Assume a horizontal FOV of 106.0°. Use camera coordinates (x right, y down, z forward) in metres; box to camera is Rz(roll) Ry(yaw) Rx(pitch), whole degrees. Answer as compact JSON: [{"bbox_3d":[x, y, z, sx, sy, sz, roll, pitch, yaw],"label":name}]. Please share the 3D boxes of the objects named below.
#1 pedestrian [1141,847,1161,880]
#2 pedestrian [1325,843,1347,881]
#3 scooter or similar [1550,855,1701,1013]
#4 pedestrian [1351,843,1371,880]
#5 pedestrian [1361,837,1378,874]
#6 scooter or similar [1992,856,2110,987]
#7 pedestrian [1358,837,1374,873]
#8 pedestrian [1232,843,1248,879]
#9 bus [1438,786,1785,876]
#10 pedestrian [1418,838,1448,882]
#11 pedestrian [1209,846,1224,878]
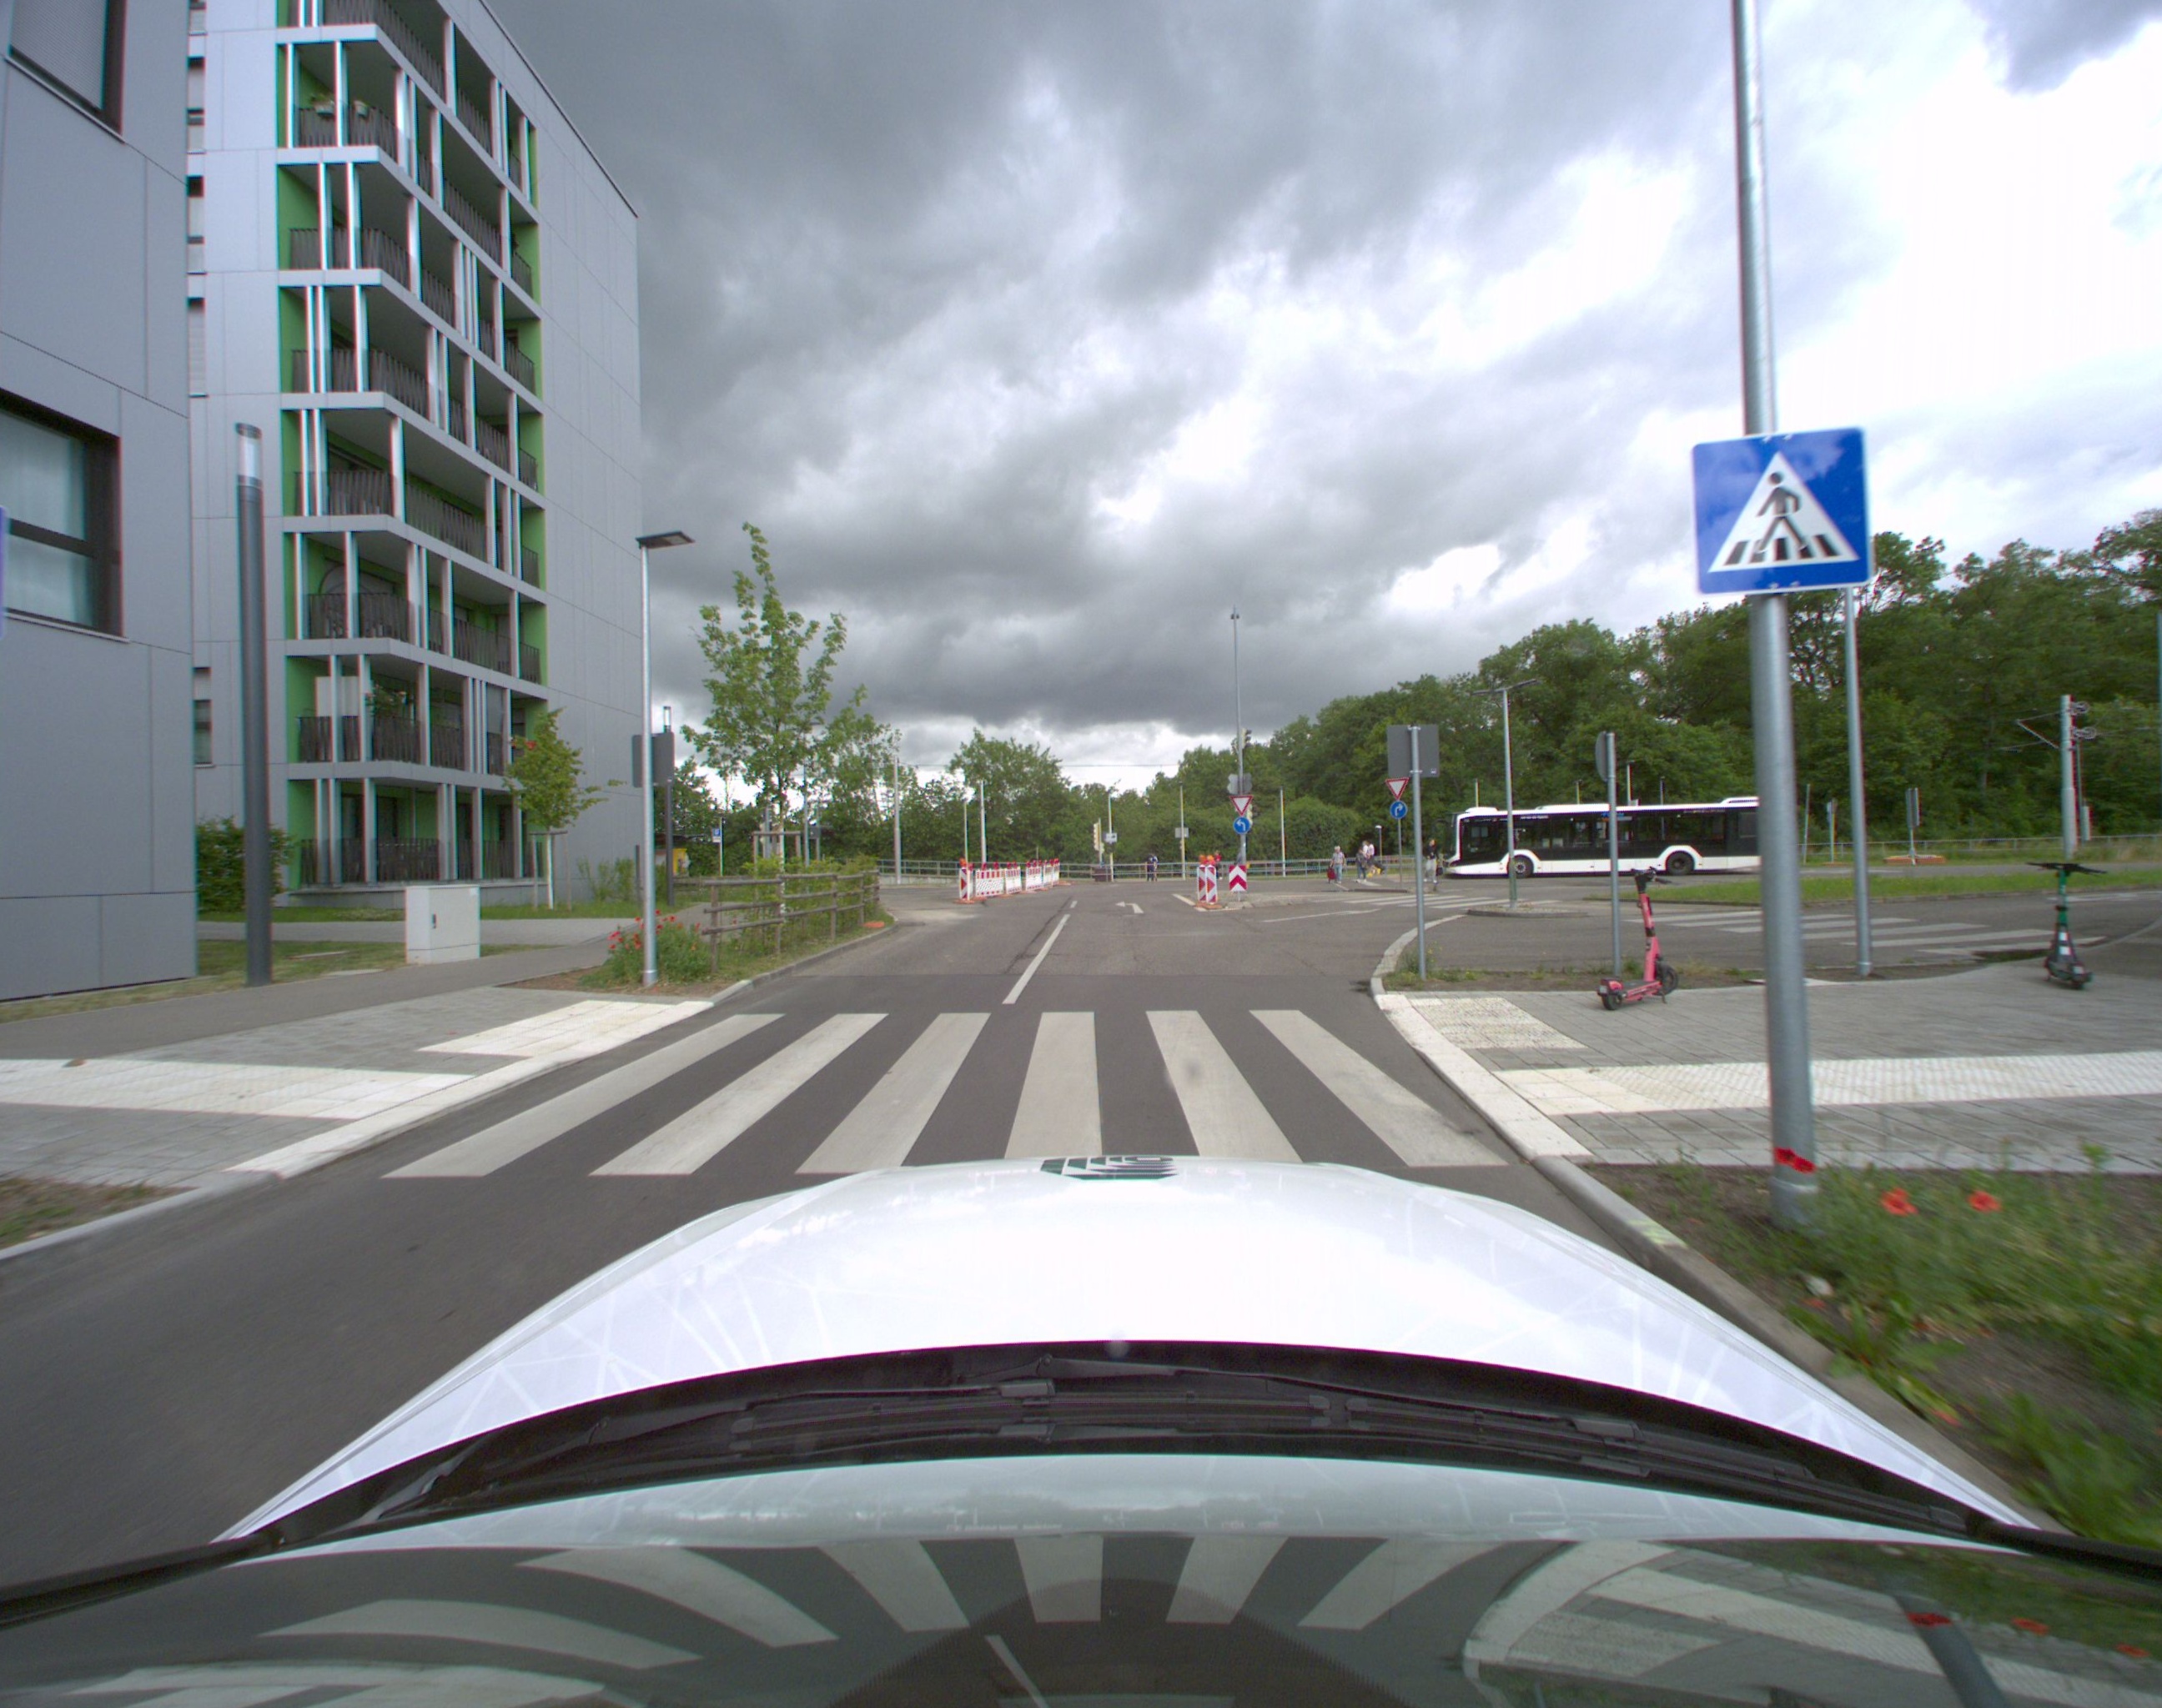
[{"bbox_3d":[3.734,0.508,43.344,0.952,1.747,0.722,-1,0,-3],"label":"pedestrian"},{"bbox_3d":[10.924,0.338,34.885,0.690,1.633,0.727,-1,0,31],"label":"pedestrian"},{"bbox_3d":[5.061,0.681,7.549,1.531,1.313,0.566,-1,0,-32],"label":"scooter or similar"},{"bbox_3d":[12.163,0.322,35.380,0.683,1.567,0.737,-1,0,31],"label":"pedestrian"},{"bbox_3d":[13.837,0.085,39.074,0.714,1.747,0.962,-1,0,18],"label":"pedestrian"},{"bbox_3d":[10.239,0.663,8.642,0.614,1.275,1.504,-1,-2,44],"label":"scooter or similar"},{"bbox_3d":[14.028,0.060,40.118,0.714,1.747,0.962,-1,0,18],"label":"pedestrian"},{"bbox_3d":[7.810,0.352,39.967,0.715,1.747,0.961,-1,0,12],"label":"pedestrian"},{"bbox_3d":[21.956,-0.861,34.564,12.073,3.203,2.685,-2,0,13],"label":"bus"},{"bbox_3d":[14.300,0.238,33.102,0.945,1.747,1.069,-1,0,31],"label":"pedestrian"},{"bbox_3d":[6.899,0.414,41.451,0.715,1.621,0.808,-1,0,12],"label":"pedestrian"}]
